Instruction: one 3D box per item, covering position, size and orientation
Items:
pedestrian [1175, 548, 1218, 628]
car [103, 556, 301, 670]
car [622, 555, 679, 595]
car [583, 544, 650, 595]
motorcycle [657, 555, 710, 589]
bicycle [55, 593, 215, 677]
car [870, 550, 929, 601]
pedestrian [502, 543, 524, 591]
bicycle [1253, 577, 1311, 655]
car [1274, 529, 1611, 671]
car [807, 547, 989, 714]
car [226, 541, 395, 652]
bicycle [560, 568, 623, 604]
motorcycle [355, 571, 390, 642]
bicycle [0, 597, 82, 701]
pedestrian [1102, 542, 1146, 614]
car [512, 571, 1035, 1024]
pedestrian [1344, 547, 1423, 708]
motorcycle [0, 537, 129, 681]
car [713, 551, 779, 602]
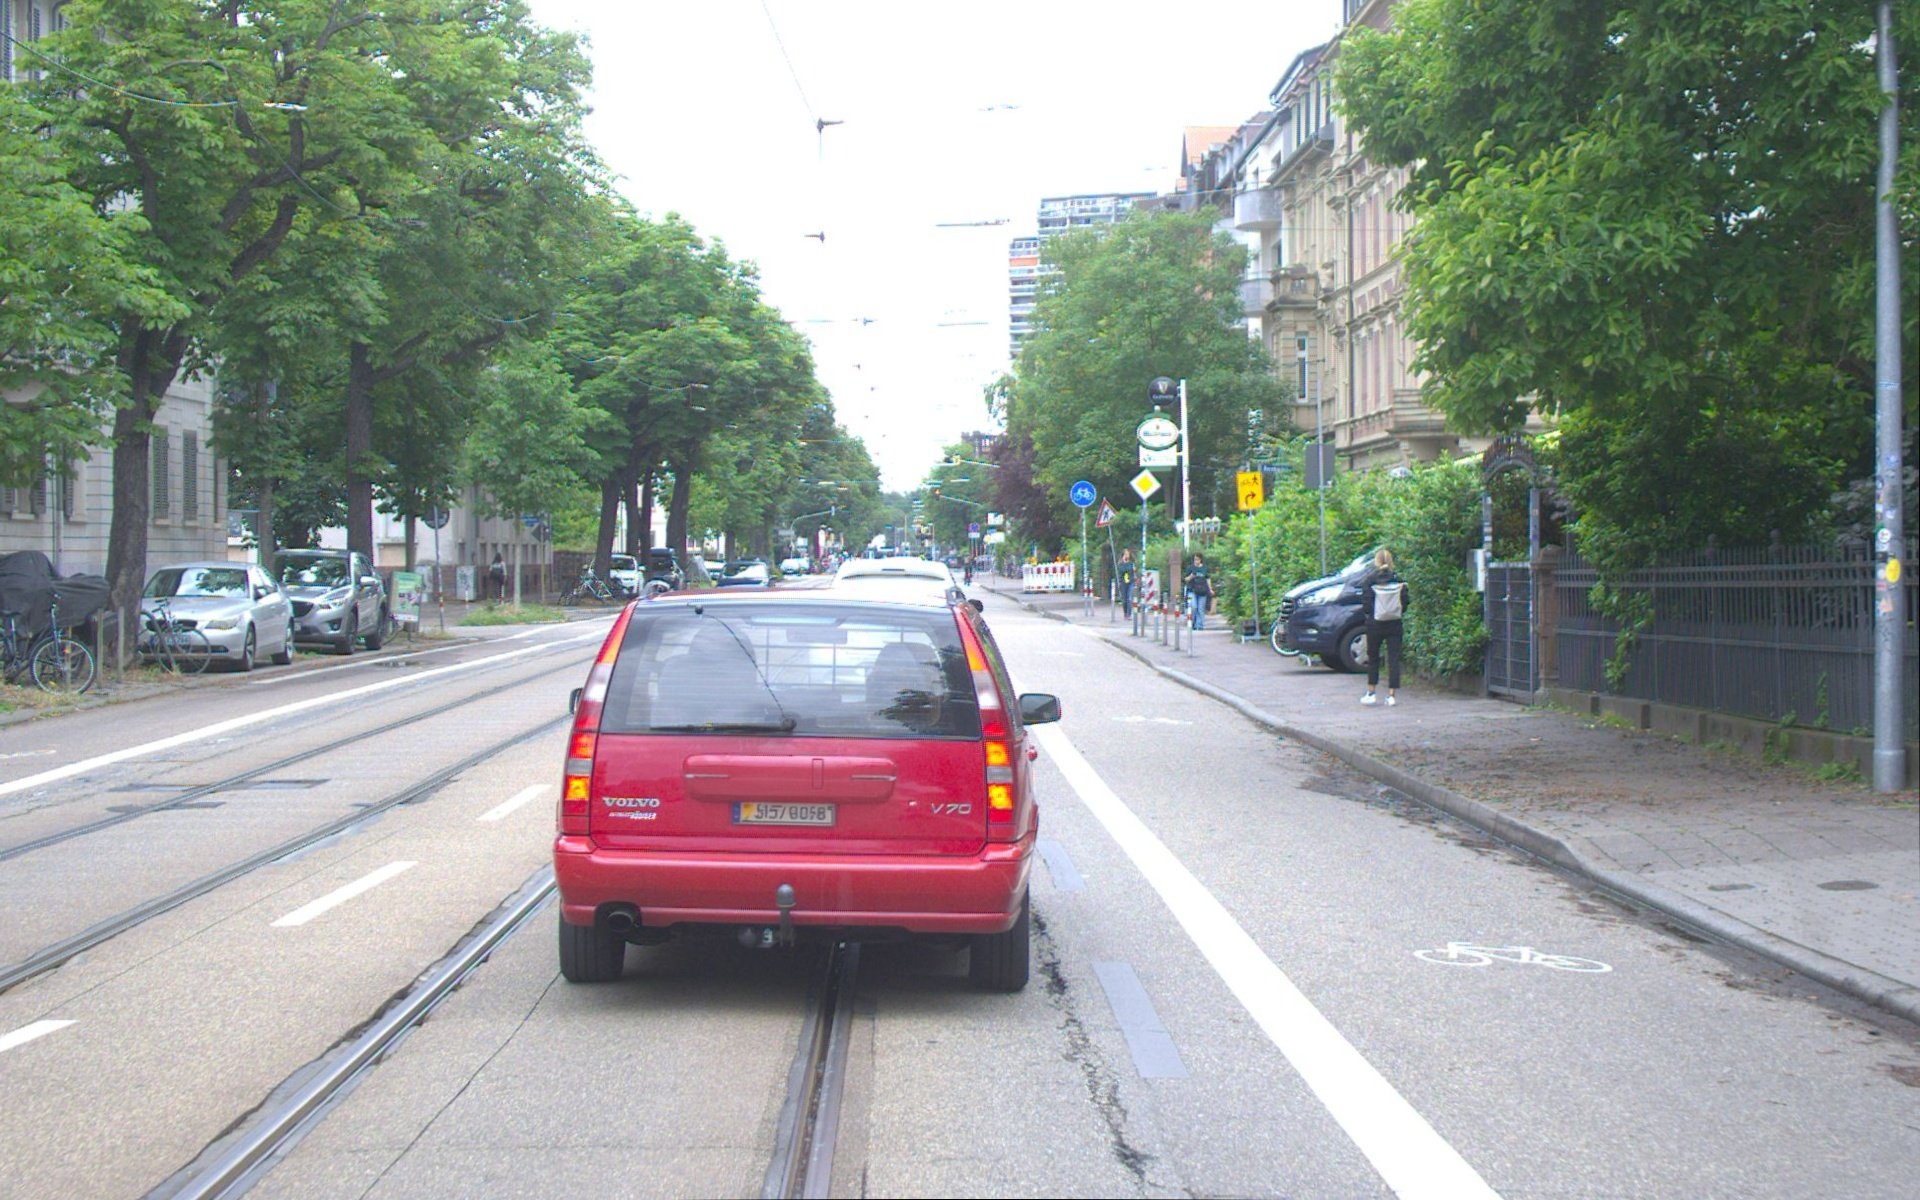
[{"bbox_3d":[4.930,-0.247,71.705,0.793,1.630,0.836,-2,0,0],"label":"pedestrian"},{"bbox_3d":[-10.329,0.143,47.144,1.811,1.461,4.614,0,1,-2],"label":"car"},{"bbox_3d":[-11.948,-0.969,132.891,1.777,1.505,4.238,1,1,0],"label":"car"},{"bbox_3d":[-11.377,-1.024,114.074,1.897,1.650,4.226,0,1,-2],"label":"car"},{"bbox_3d":[-12.423,-1.237,154.578,2.269,1.506,0.925,0,-1,34],"label":"motorcycle"},{"bbox_3d":[-10.496,0.438,43.761,1.894,1.023,0.564,1,1,-5],"label":"bicycle"},{"bbox_3d":[-1.955,-0.803,109.805,1.741,1.600,4.000,0,1,-3],"label":"car"},{"bbox_3d":[-13.701,-1.021,105.443,0.564,1.462,0.723,0,1,-1],"label":"pedestrian"},{"bbox_3d":[4.930,0.237,52.644,0.632,1.124,1.812,-2,1,-1],"label":"bicycle"},{"bbox_3d":[6.444,-0.014,46.246,4.280,1.803,1.823,-1,1,1],"label":"car"},{"bbox_3d":[-0.588,0.275,35.405,1.719,1.619,3.941,0,1,1],"label":"car"},{"bbox_3d":[-10.428,-0.090,55.476,1.837,1.655,4.293,2,1,0],"label":"car"},{"bbox_3d":[-11.786,-0.444,109.992,1.922,1.117,0.624,1,0,-1],"label":"bicycle"},{"bbox_3d":[-10.767,0.109,63.033,0.539,1.253,2.143,0,1,-7],"label":"motorcycle"},{"bbox_3d":[-10.612,0.544,37.941,1.743,1.125,0.517,-1,1,17],"label":"bicycle"},{"bbox_3d":[3.758,-0.509,78.835,0.873,1.650,0.908,0,1,12],"label":"pedestrian"},{"bbox_3d":[-0.609,0.627,13.042,1.689,1.436,3.743,0,1,0],"label":"car"},{"bbox_3d":[4.526,0.284,36.802,0.623,1.665,0.960,-3,1,-2],"label":"pedestrian"},{"bbox_3d":[-10.585,0.083,40.262,0.833,1.637,2.479,0,1,7],"label":"motorcycle"},{"bbox_3d":[-6.080,-0.680,98.050,1.729,1.404,3.656,0,1,-1],"label":"car"}]
